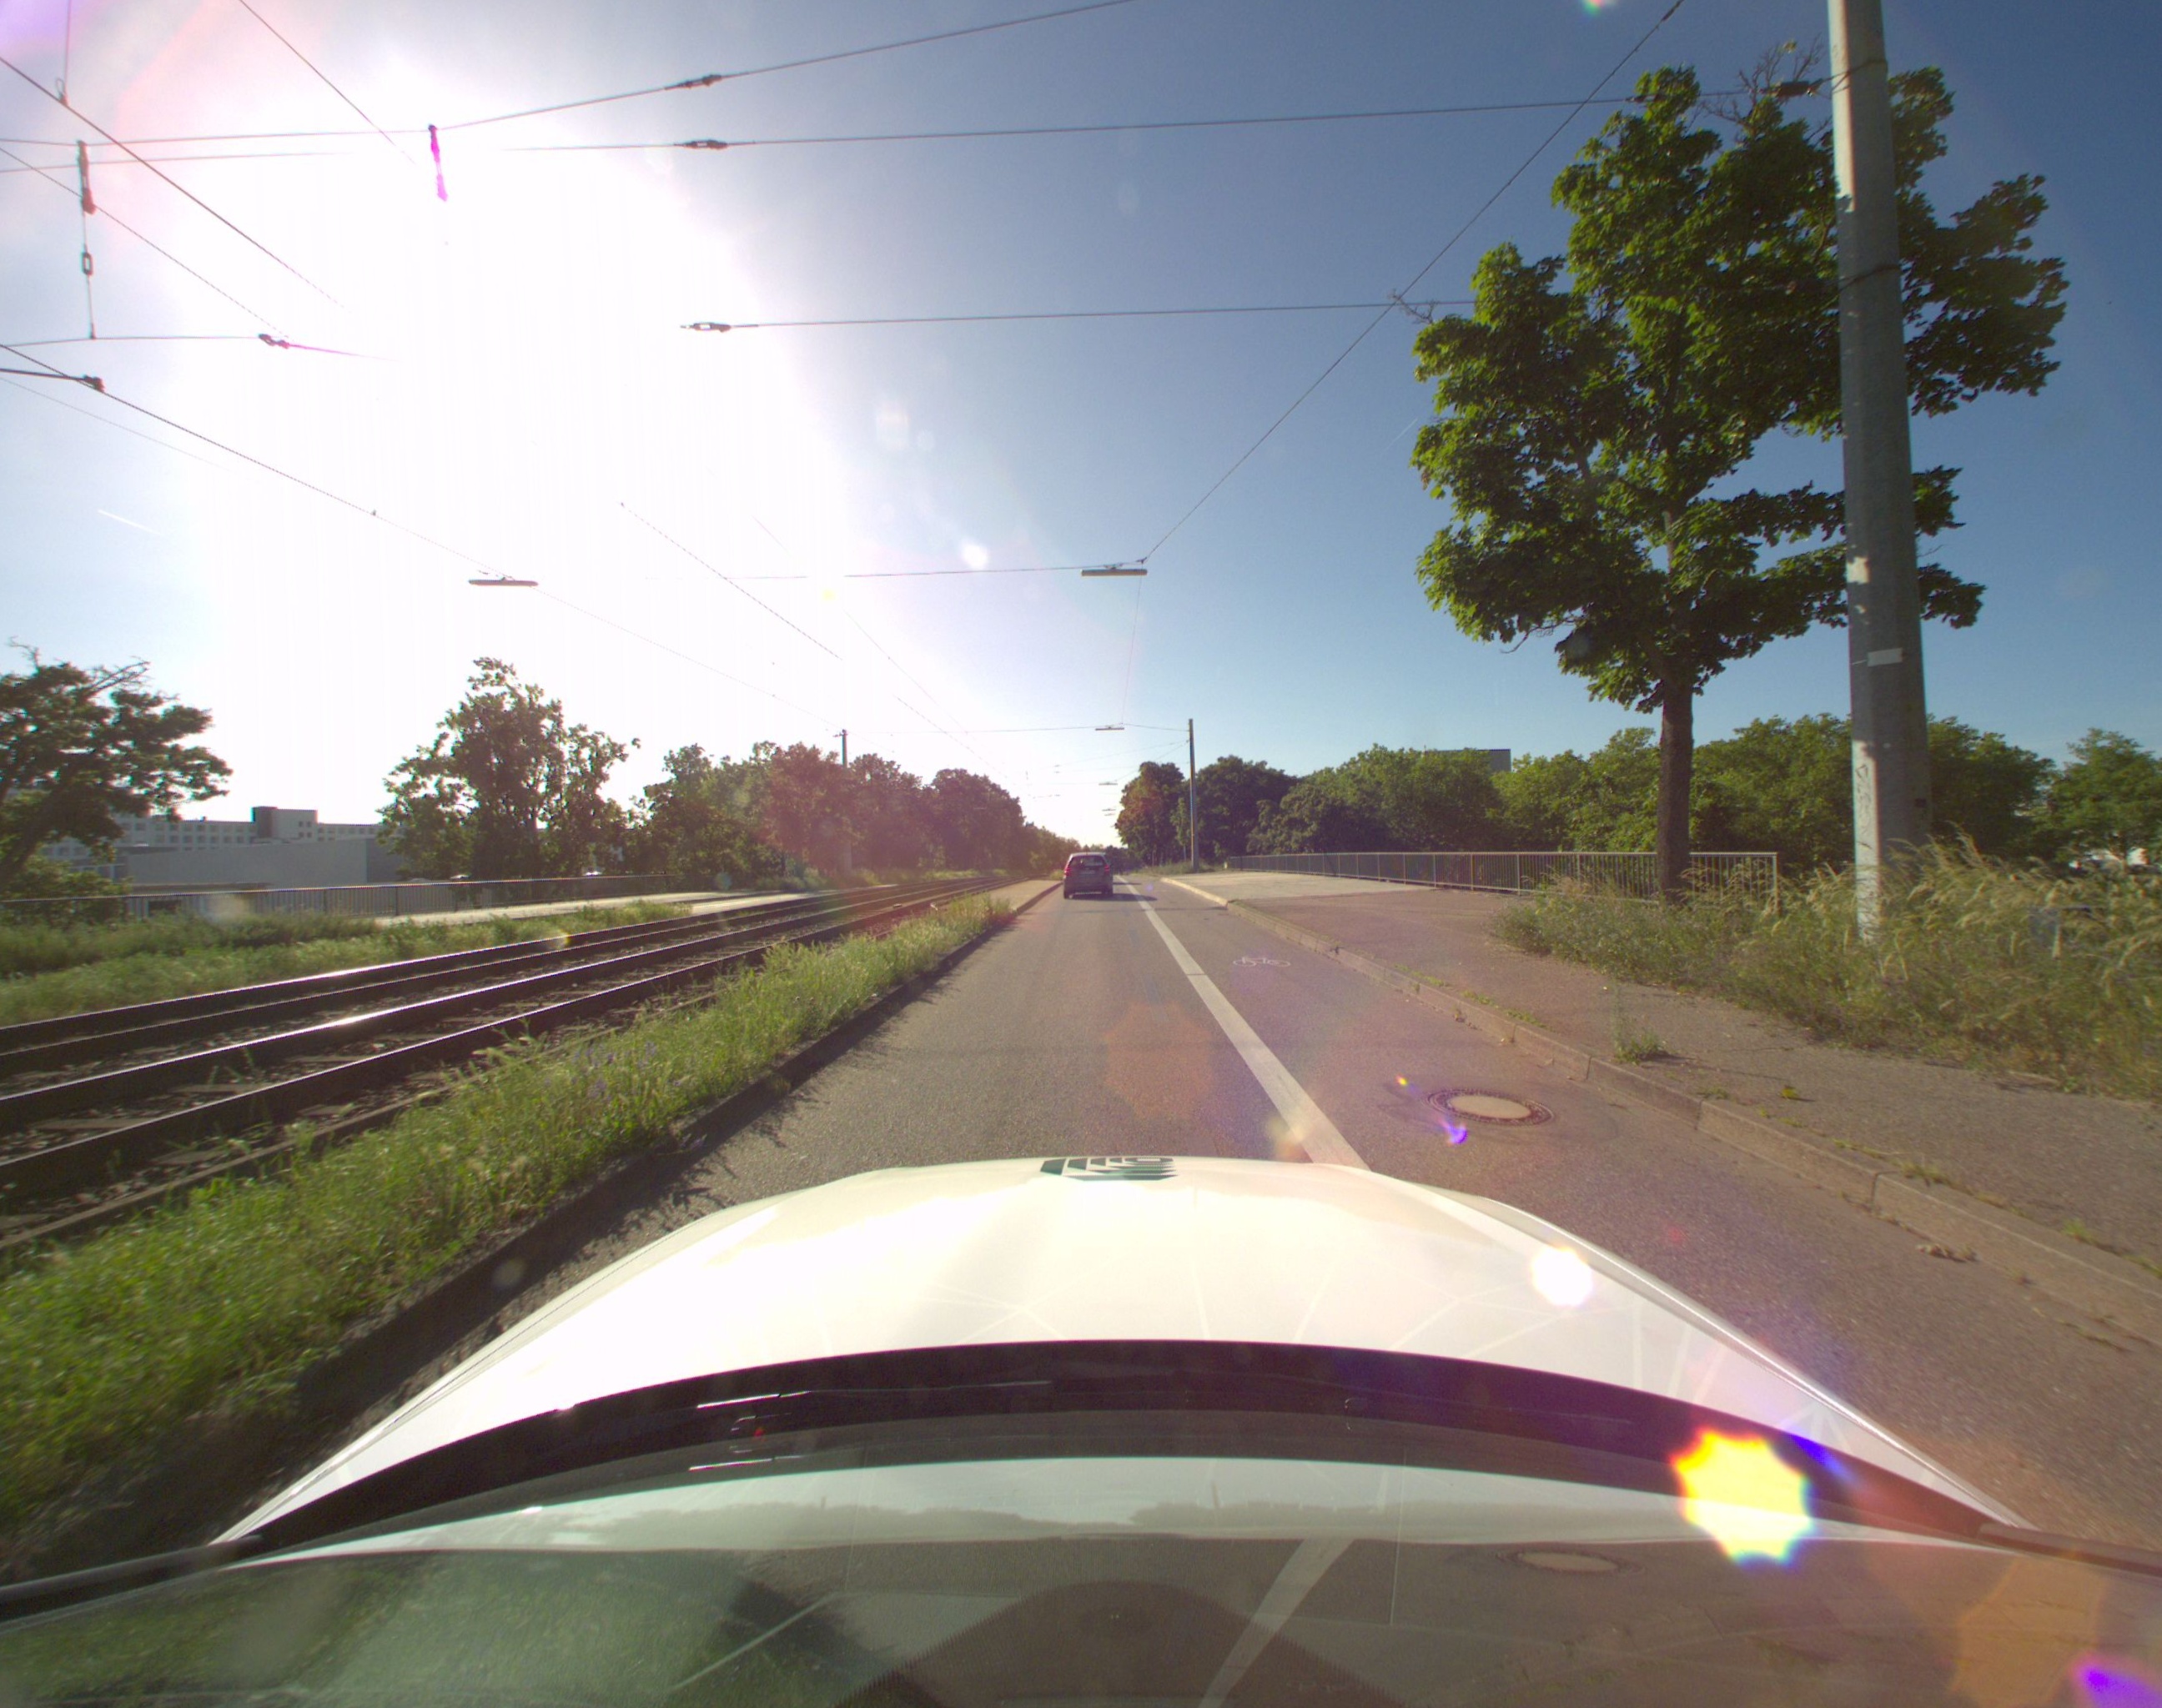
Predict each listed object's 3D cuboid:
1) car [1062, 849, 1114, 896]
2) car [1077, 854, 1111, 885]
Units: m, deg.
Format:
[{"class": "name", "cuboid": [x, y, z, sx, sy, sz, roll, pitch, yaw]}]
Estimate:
[{"class": "car", "cuboid": [0.285, 0.594, 28.452, 1.664, 1.507, 3.812, 0, 1, 1]}, {"class": "car", "cuboid": [0.710, 0.774, 42.650, 1.648, 1.507, 3.813, 0, 1, 2]}]
